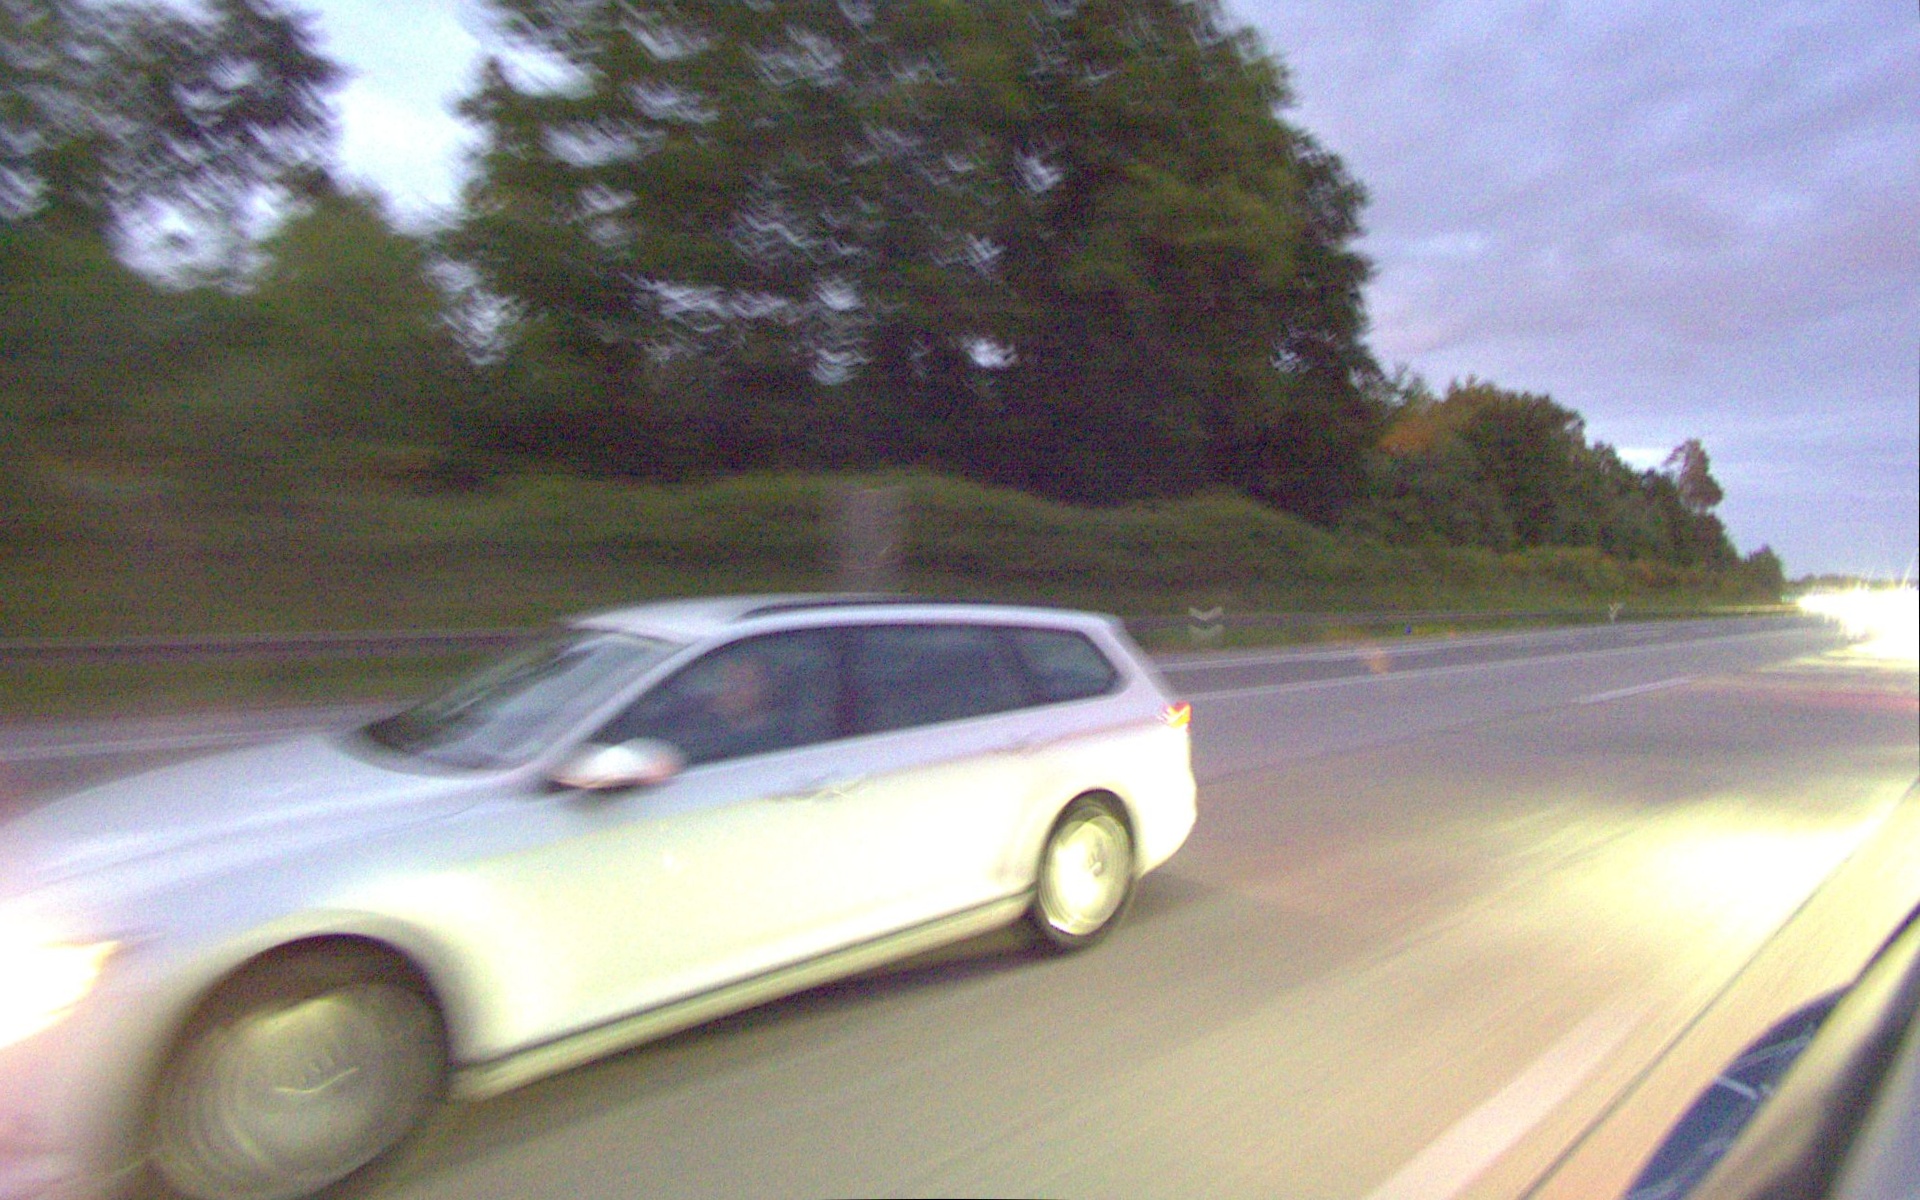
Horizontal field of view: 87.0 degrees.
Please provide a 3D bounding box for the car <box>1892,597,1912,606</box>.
[{"bbox_3d":[142.539,0.183,153.128,3.974,1.398,1.817,0,0,-42],"label":"car"}]

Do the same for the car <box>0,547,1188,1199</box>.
[{"bbox_3d":[-1.441,0.639,3.710,5.041,1.484,1.812,1,0,-41],"label":"car"}]

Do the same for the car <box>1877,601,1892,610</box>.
[{"bbox_3d":[166.191,0.931,181.881,1.993,1.568,3.937,1,0,43],"label":"car"}]
